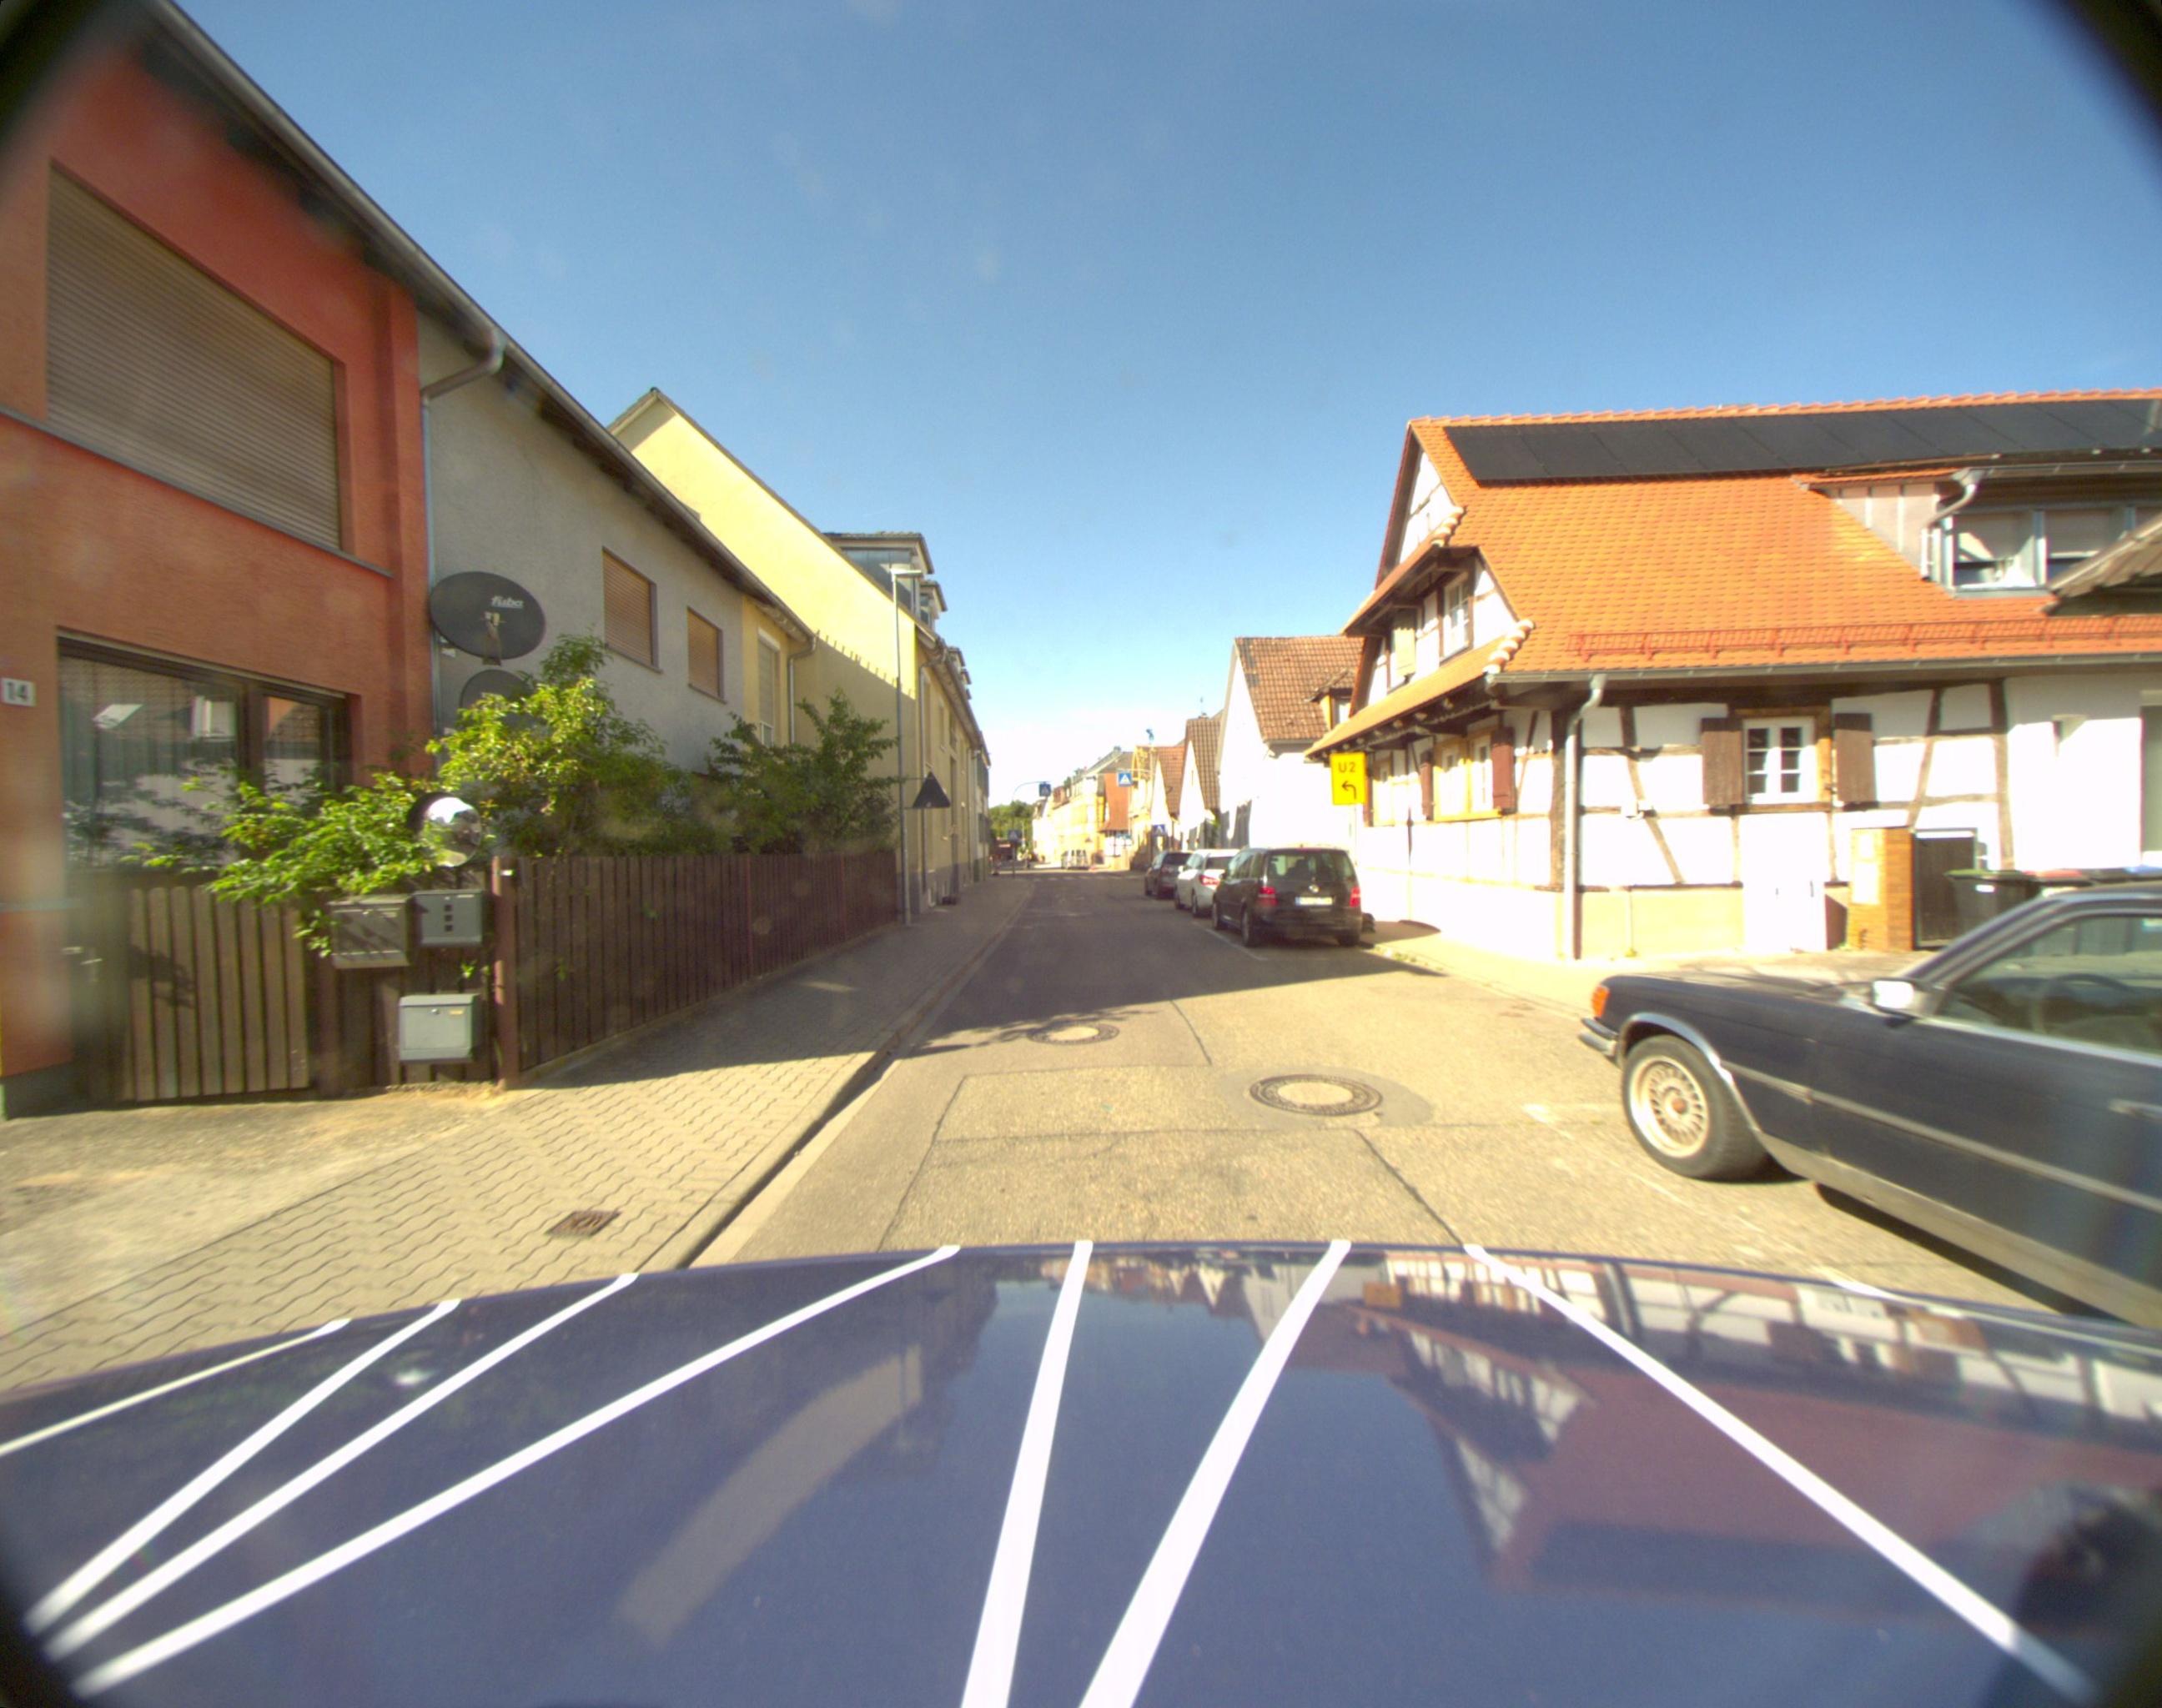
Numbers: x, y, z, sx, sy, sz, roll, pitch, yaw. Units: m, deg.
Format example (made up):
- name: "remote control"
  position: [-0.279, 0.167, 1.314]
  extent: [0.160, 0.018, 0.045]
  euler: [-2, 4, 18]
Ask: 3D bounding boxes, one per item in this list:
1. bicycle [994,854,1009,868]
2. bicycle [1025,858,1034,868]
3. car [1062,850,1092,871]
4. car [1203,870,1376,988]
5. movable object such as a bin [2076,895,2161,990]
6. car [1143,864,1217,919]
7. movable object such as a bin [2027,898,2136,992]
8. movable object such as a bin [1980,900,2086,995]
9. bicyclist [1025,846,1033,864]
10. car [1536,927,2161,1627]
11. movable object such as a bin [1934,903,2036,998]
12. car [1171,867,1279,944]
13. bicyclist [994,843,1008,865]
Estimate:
- name: "bicycle"
  position: [-8.894, 0.764, 84.792]
  extent: [1.258, 1.543, 3.996]
  euler: [-4, 1, -9]
- name: "bicycle"
  position: [-4.519, 0.775, 66.832]
  extent: [0.624, 0.774, 1.911]
  euler: [-4, 1, -7]
- name: "car"
  position: [-0.445, 0.554, 68.844]
  extent: [1.882, 1.870, 4.831]
  euler: [0, 0, -11]
- name: "car"
  position: [3.382, 1.142, 13.224]
  extent: [1.788, 1.595, 4.361]
  euler: [-1, 0, 0]
- name: "movable object such as a bin"
  position: [11.248, 0.934, 8.148]
  extent: [0.472, 0.938, 0.524]
  euler: [-2, 1, 3]
- name: "car"
  position: [3.204, 1.176, 25.310]
  extent: [1.747, 1.604, 3.999]
  euler: [-1, 0, -3]
- name: "movable object such as a bin"
  position: [10.748, 0.965, 8.179]
  extent: [0.472, 0.938, 0.524]
  euler: [-2, 1, 3]
- name: "movable object such as a bin"
  position: [10.252, 0.995, 8.197]
  extent: [0.472, 0.938, 0.524]
  euler: [-2, 1, 3]
- name: "bicyclist"
  position: [-4.572, 0.053, 66.841]
  extent: [0.610, 1.524, 0.654]
  euler: [-4, 1, -8]
- name: "car"
  position: [3.457, 1.114, 1.692]
  extent: [1.849, 1.398, 5.036]
  euler: [0, 0, 0]
- name: "movable object such as a bin"
  position: [9.754, 1.026, 8.209]
  extent: [0.472, 0.938, 0.524]
  euler: [-2, 1, 3]
- name: "car"
  position: [3.375, 1.163, 18.587]
  extent: [1.821, 1.557, 4.168]
  euler: [-1, 0, 0]
- name: "bicyclist"
  position: [-8.966, 0.009, 84.842]
  extent: [1.258, 2.295, 1.241]
  euler: [-4, 1, -11]
